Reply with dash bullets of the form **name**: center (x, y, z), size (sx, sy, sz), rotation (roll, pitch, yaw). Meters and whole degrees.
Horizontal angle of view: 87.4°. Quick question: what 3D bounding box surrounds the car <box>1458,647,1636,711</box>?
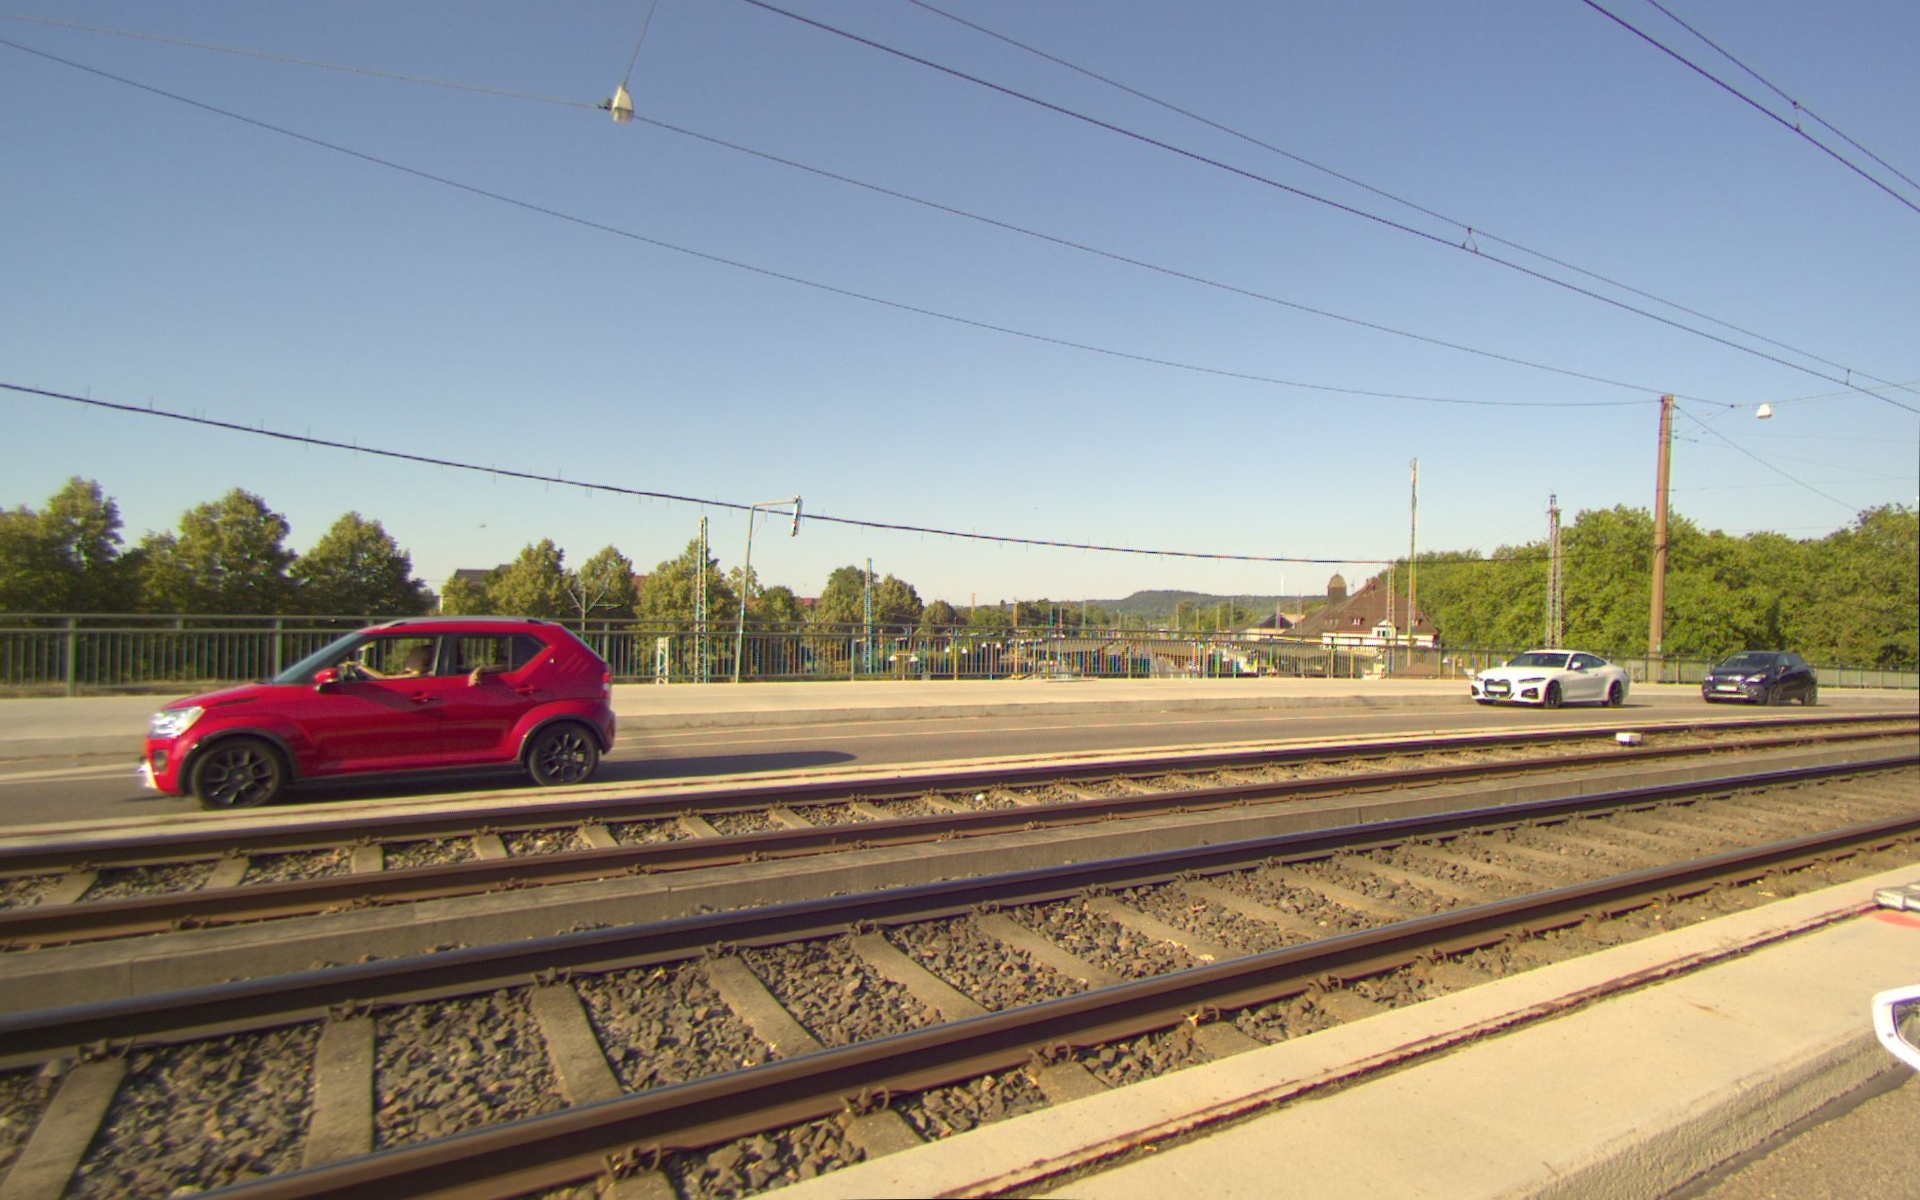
- **car**: center (14.617, 1.892, 24.945), size (4.863, 1.374, 1.676), rotation (1, -1, -31)

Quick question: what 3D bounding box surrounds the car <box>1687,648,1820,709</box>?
- **car**: center (24.445, 2.363, 30.900), size (4.395, 1.672, 1.771), rotation (1, -1, -31)

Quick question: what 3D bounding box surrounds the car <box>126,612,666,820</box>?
- **car**: center (-4.914, 0.910, 9.234), size (3.953, 1.539, 1.800), rotation (1, -2, -31)
